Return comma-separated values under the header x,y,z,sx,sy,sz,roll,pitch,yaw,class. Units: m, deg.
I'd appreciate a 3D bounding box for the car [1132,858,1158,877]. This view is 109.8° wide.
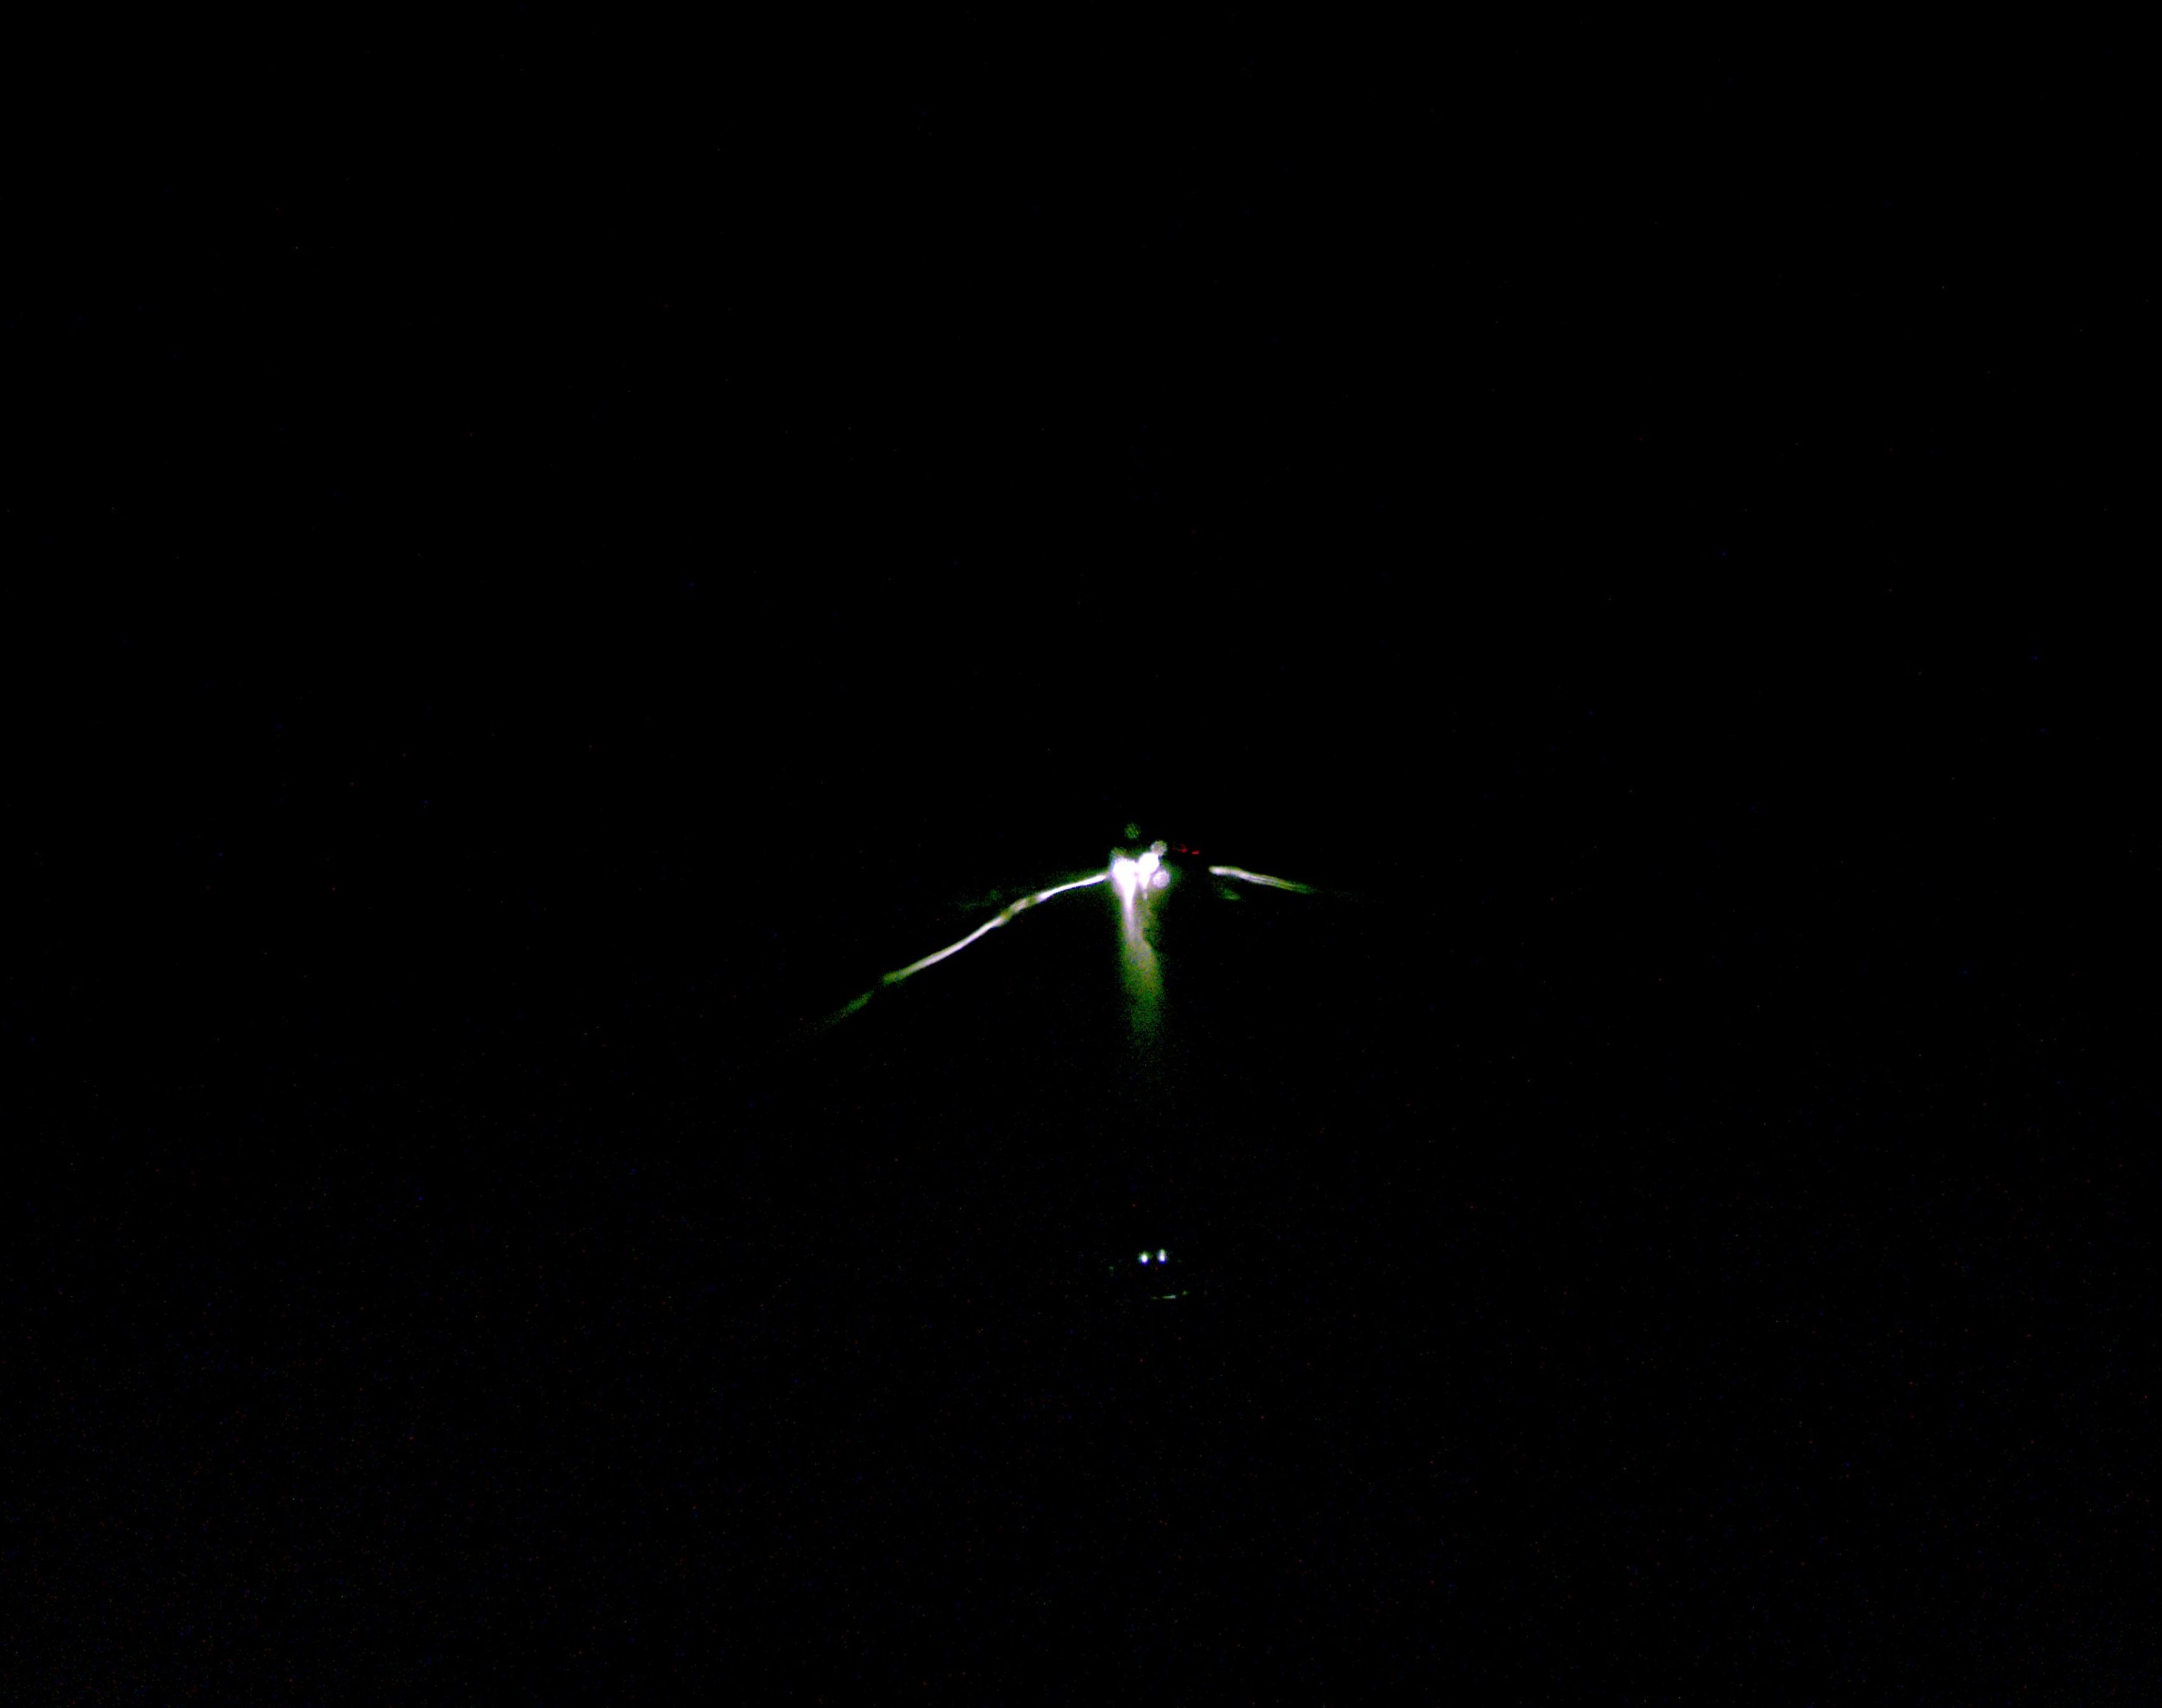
x,y,z,sx,sy,sz,roll,pitch,yaw,class
5.391,1.089,64.016,1.775,1.444,4.139,-3,0,9,car
